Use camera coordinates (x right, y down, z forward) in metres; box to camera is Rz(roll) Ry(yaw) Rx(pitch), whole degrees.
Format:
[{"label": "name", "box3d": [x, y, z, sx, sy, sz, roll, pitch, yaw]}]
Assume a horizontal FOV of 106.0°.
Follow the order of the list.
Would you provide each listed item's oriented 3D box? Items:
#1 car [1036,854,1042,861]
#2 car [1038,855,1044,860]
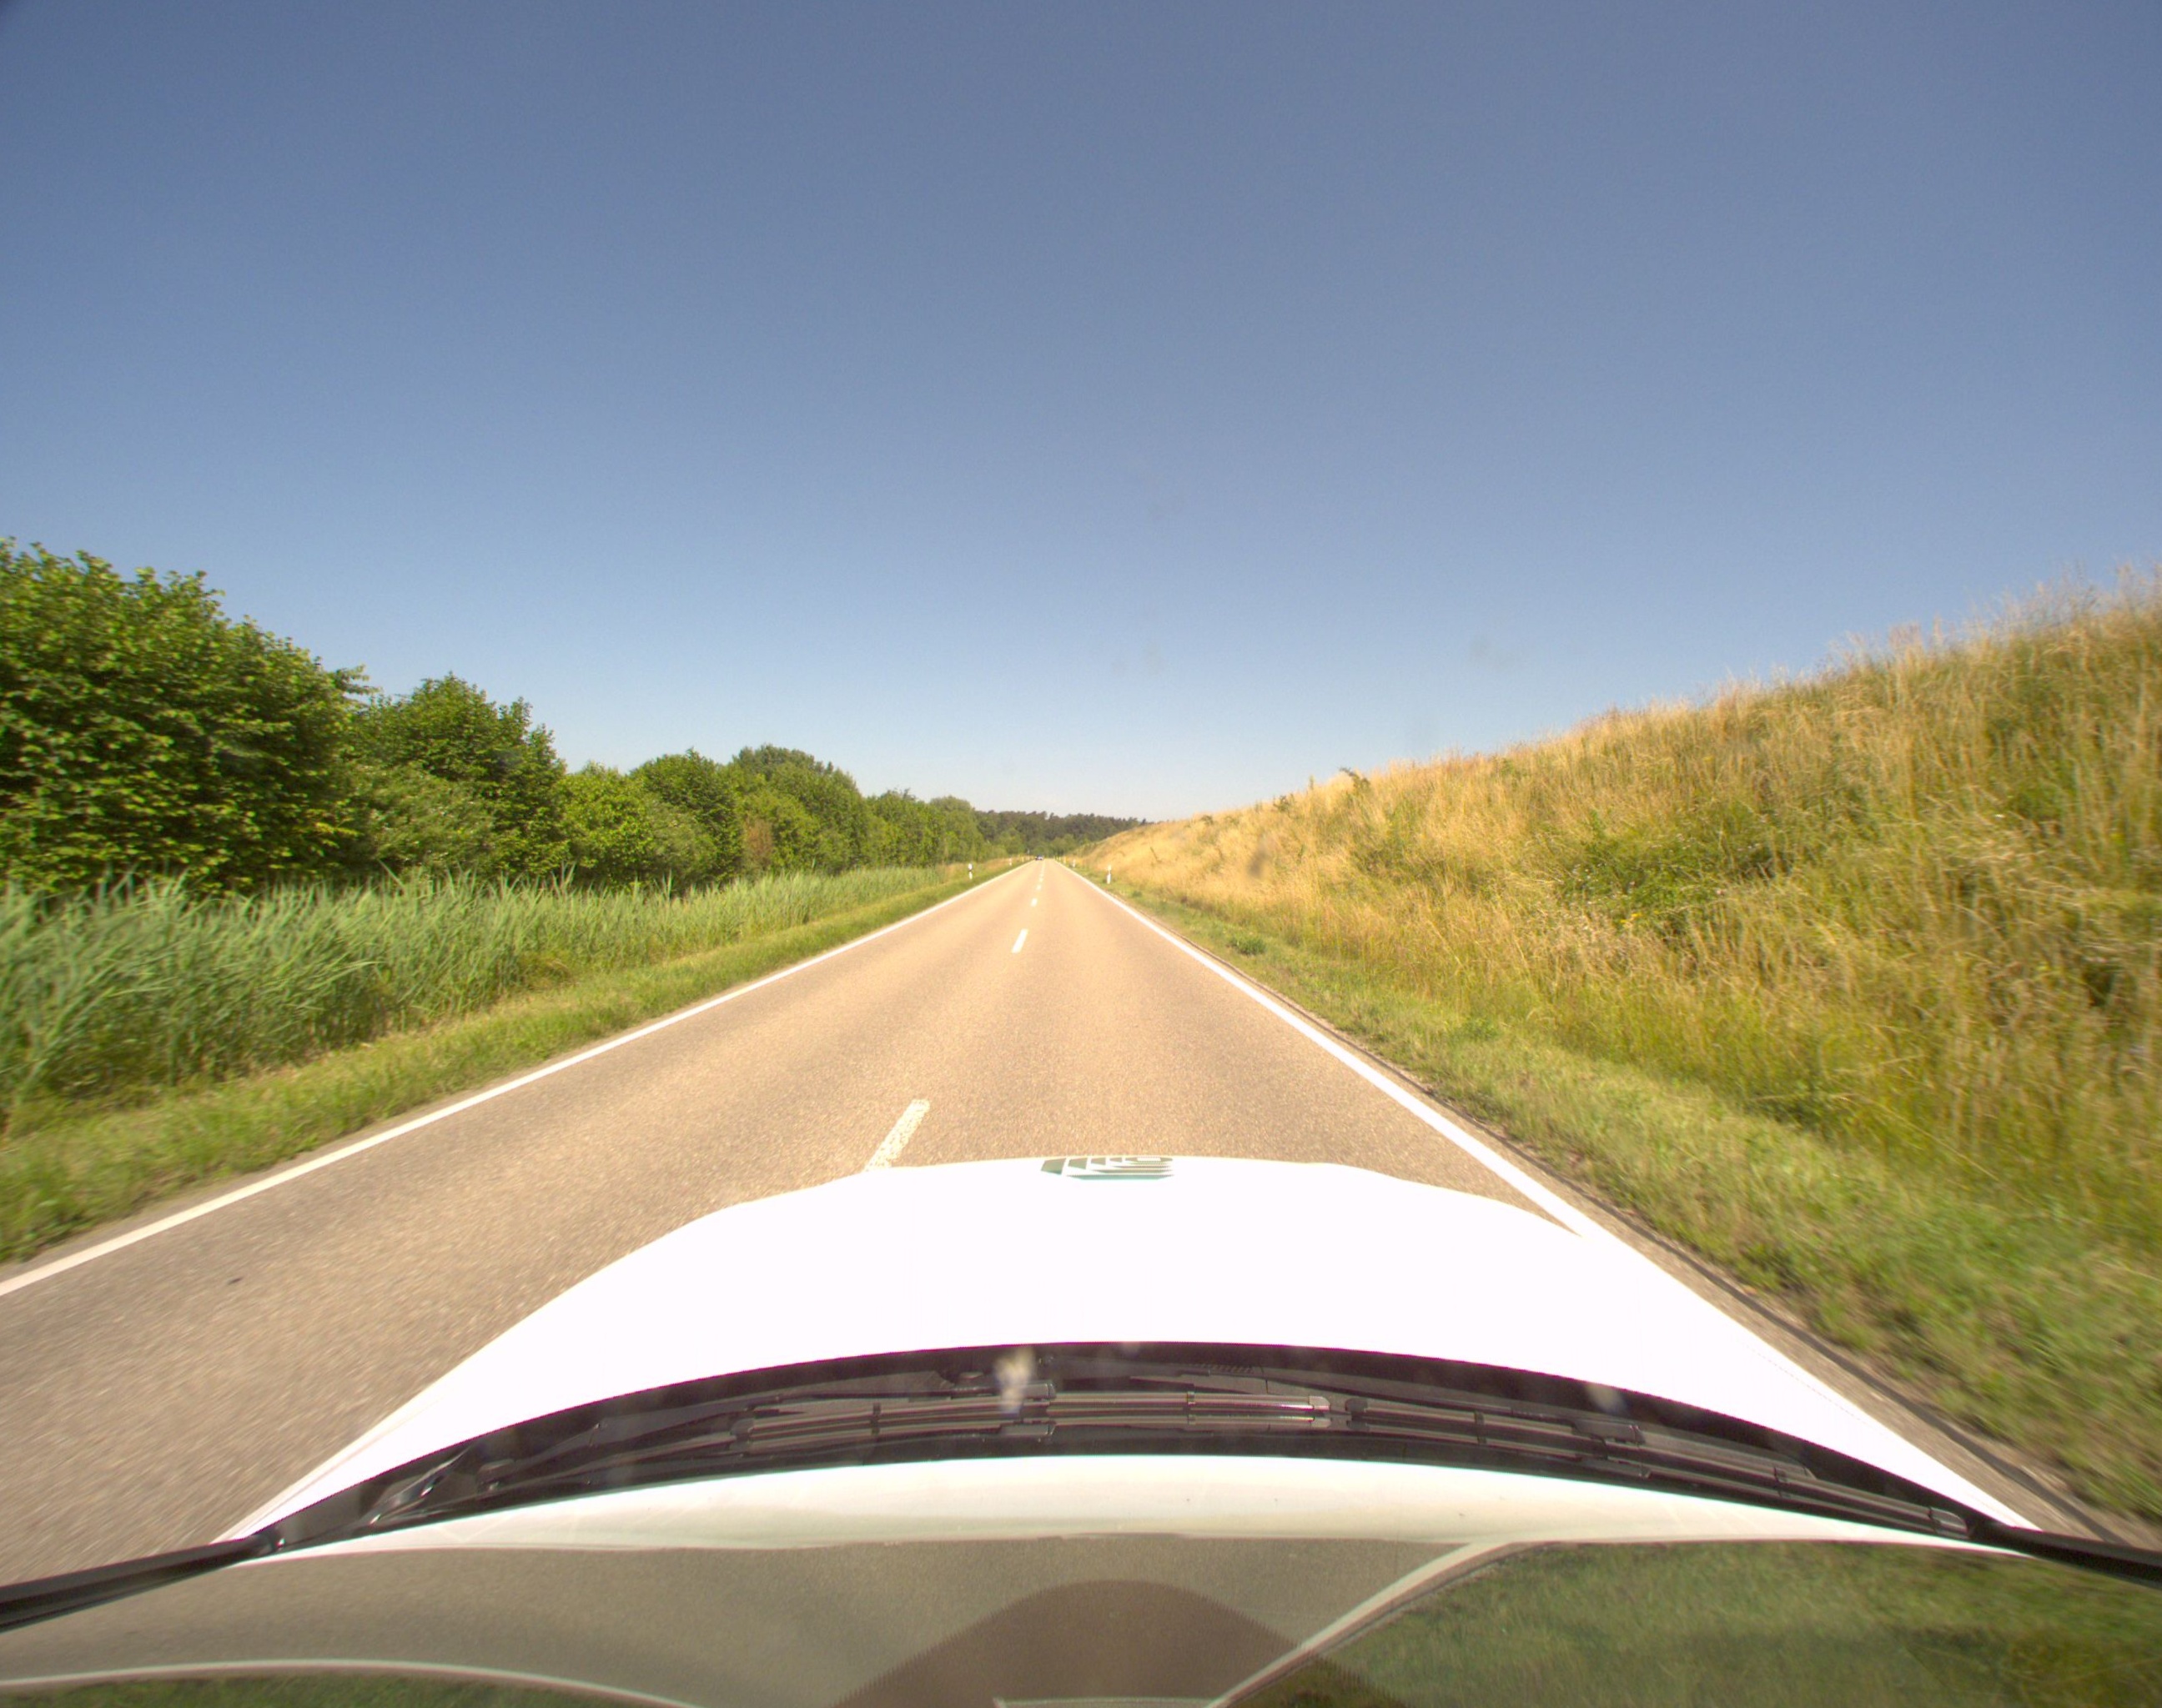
[{"label": "car", "box3d": [-11.226, 0.943, 217.072, 1.712, 1.647, 3.910, 1, 0, -3]}, {"label": "car", "box3d": [-11.843, 1.041, 243.481, 1.718, 1.354, 3.996, 2, -1, -3]}]
